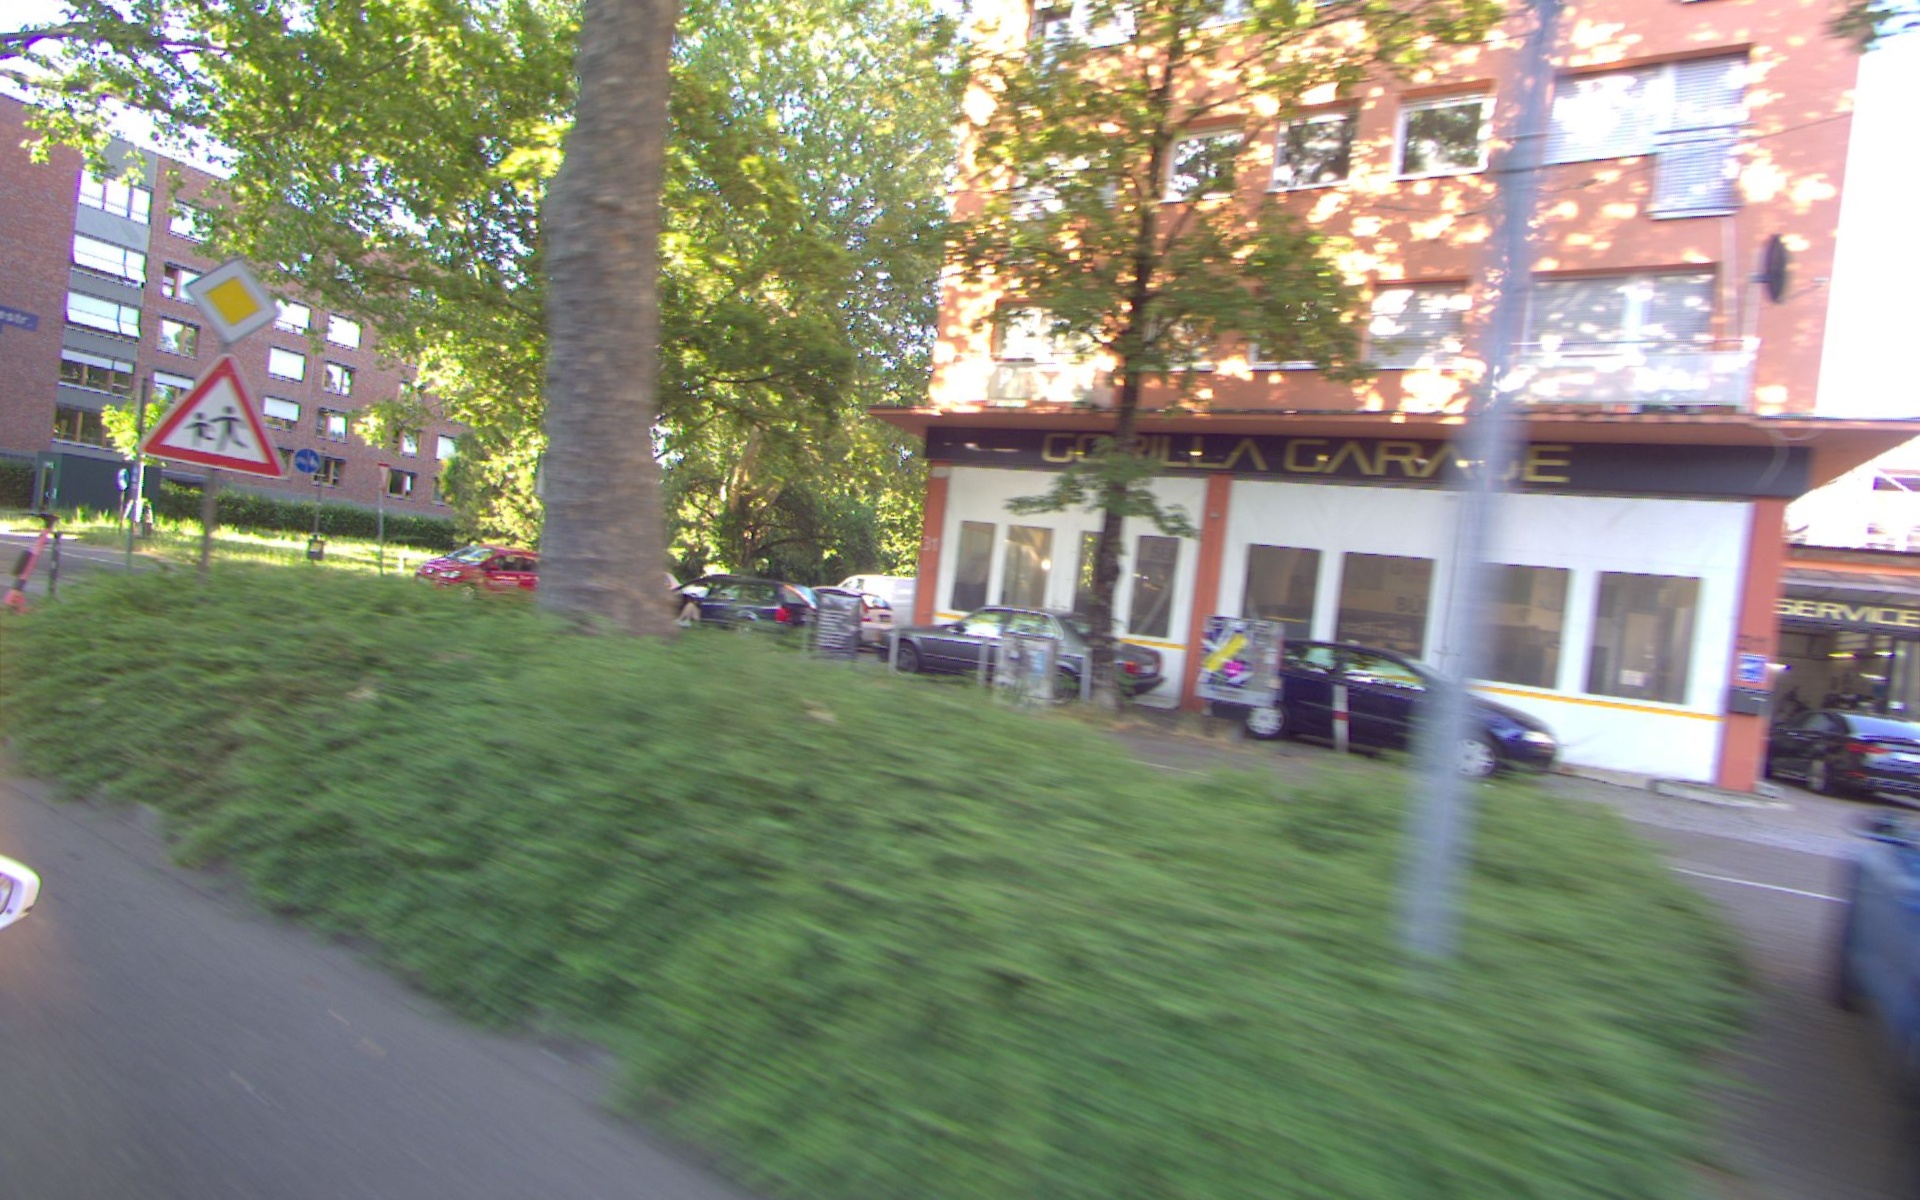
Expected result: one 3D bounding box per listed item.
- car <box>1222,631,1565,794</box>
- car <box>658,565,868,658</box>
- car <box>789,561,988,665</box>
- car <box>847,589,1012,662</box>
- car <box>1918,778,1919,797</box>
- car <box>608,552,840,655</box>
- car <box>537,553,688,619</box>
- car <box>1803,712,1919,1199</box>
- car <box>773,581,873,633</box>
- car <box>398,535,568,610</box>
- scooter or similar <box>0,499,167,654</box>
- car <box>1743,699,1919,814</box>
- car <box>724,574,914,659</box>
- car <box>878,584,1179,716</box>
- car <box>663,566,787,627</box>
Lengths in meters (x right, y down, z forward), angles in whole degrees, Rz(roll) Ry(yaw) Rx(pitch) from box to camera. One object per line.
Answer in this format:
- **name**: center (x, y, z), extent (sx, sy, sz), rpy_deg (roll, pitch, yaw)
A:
- **car**: center (5.752, 1.396, 13.506), extent (3.883, 1.453, 1.751), rpy_deg (7, 1, 30)
- **car**: center (-4.633, 0.257, 23.585), extent (4.495, 1.594, 1.793), rpy_deg (7, 1, 25)
- **car**: center (-1.984, 0.337, 27.615), extent (4.995, 2.212, 1.915), rpy_deg (7, 1, 27)
- **car**: center (-0.931, 0.748, 30.036), extent (4.497, 1.594, 1.793), rpy_deg (7, 1, 26)
- **car**: center (17.708, 2.935, 16.321), extent (1.908, 1.343, 3.996), rpy_deg (7, 0, 26)
- **car**: center (-5.008, 0.075, 21.249), extent (4.495, 1.594, 1.793), rpy_deg (7, 1, 25)
- **car**: center (-9.875, -0.346, 28.849), extent (1.654, 1.470, 3.924), rpy_deg (7, 0, 28)
- **car**: center (4.209, 1.312, 3.301), extent (1.790, 1.562, 4.402), rpy_deg (7, 0, 37)
- **car**: center (-5.169, 0.313, 38.446), extent (1.654, 1.601, 3.924), rpy_deg (7, 0, 28)
- **car**: center (-12.038, -0.656, 25.589), extent (1.654, 1.470, 3.544), rpy_deg (7, 0, 28)
- **scooter or similar**: center (-7.829, -0.186, 8.796), extent (0.560, 1.255, 1.210), rpy_deg (7, 1, 28)
- **car**: center (15.040, 2.578, 16.840), extent (1.907, 1.407, 3.998), rpy_deg (7, 0, 23)
- **car**: center (-3.665, 0.416, 25.969), extent (4.497, 1.594, 1.793), rpy_deg (7, 1, 26)
- **car**: center (1.042, 0.745, 16.138), extent (4.392, 1.453, 1.751), rpy_deg (7, 1, 30)
- **car**: center (-7.649, -0.073, 33.104), extent (1.654, 1.601, 3.924), rpy_deg (7, 0, 28)
